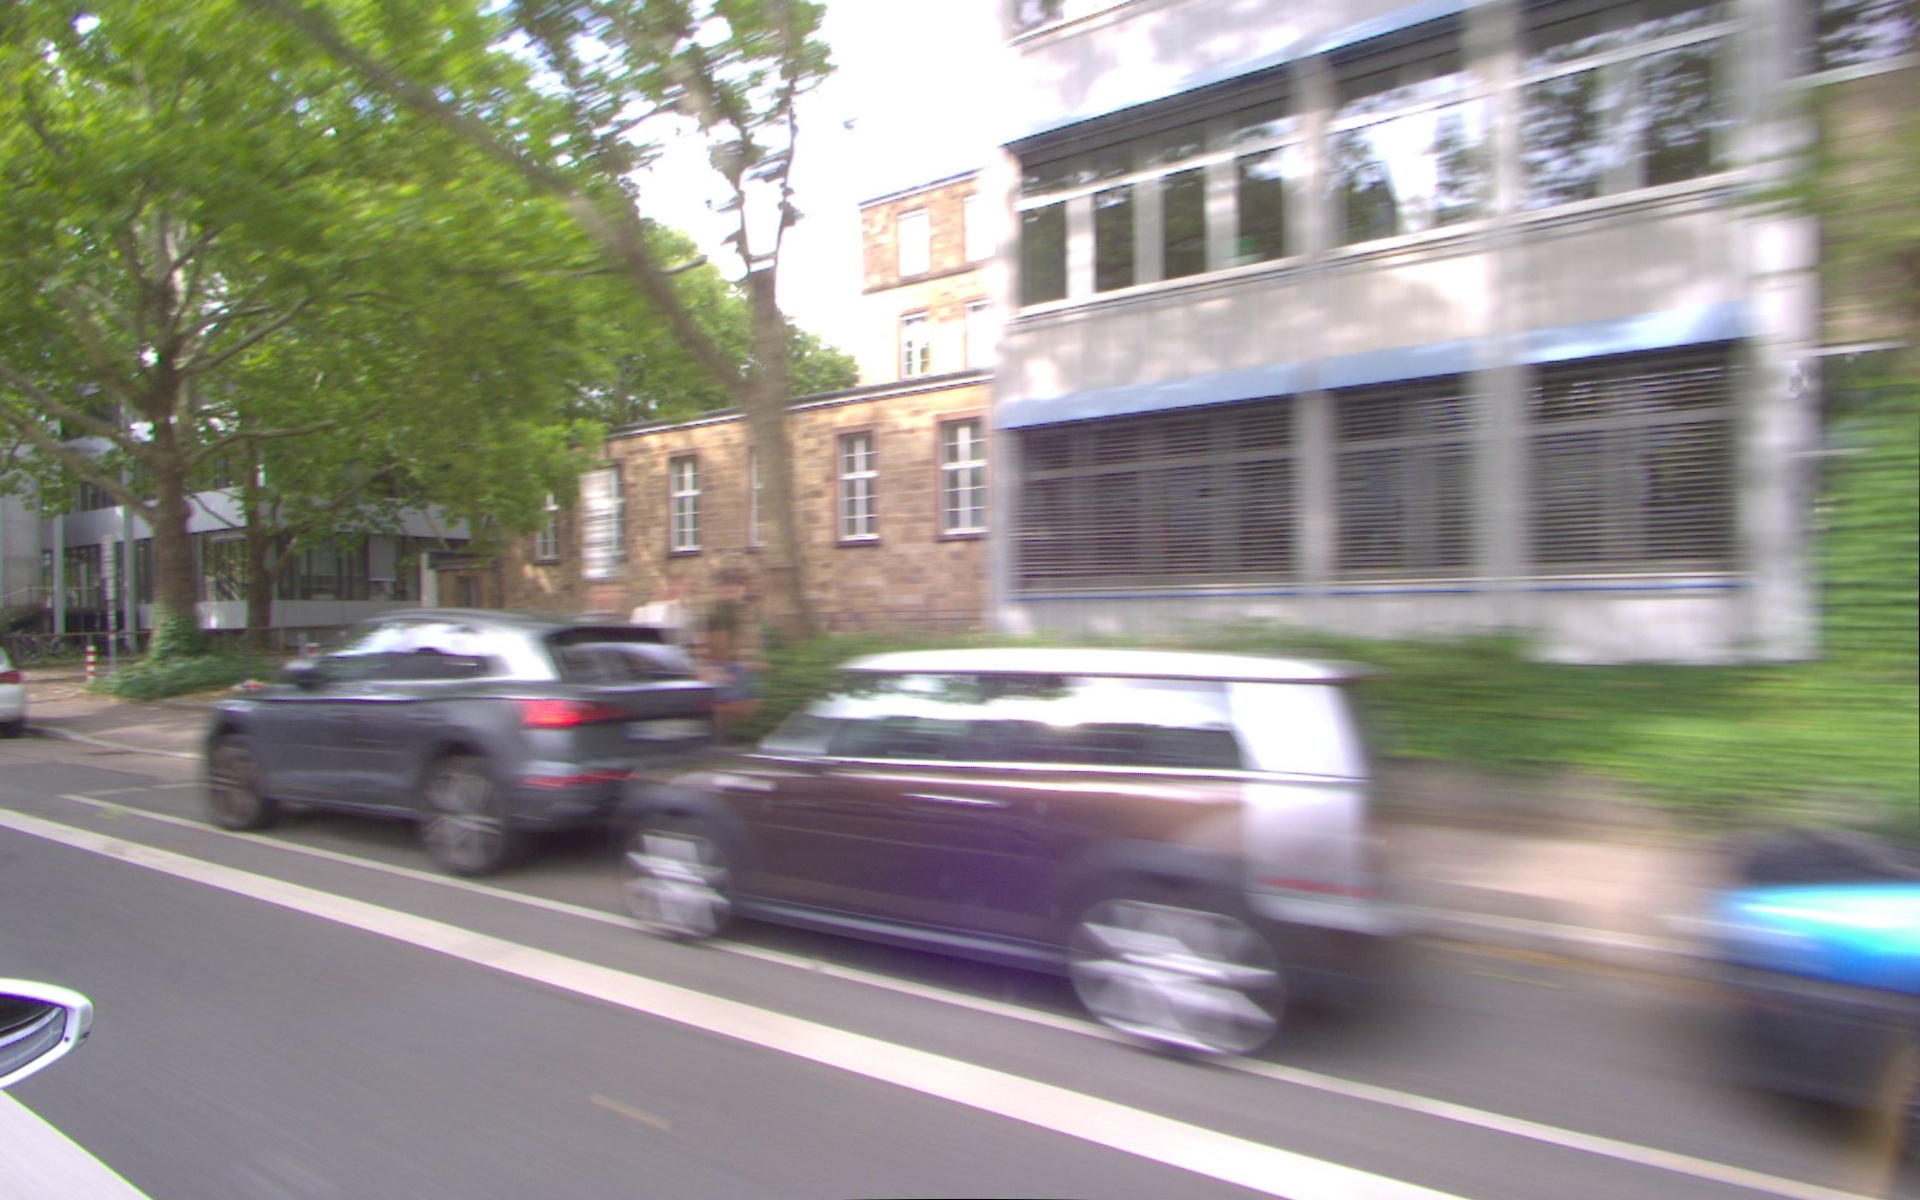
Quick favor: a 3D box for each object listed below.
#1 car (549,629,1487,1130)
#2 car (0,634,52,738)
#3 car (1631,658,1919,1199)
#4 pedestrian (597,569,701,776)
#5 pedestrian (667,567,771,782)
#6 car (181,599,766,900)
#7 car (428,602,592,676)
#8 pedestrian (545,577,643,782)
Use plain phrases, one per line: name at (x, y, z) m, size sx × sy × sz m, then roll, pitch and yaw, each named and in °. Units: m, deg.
car at (0.092, 0.895, 4.818) m, size 4.254 × 1.489 × 1.627 m, roll -1°, pitch -1°, yaw 31°
car at (-15.140, 1.195, 14.608) m, size 4.397 × 1.411 × 1.673 m, roll -1°, pitch -3°, yaw 32°
car at (4.095, 0.892, 2.526) m, size 3.944 × 1.403 × 1.619 m, roll -1°, pitch -3°, yaw 33°
pedestrian at (-2.922, 0.658, 9.420) m, size 0.682 × 1.862 × 0.586 m, roll 1°, pitch 0°, yaw 33°
pedestrian at (-2.348, 0.699, 9.769) m, size 0.682 × 2.001 × 0.641 m, roll 1°, pitch 0°, yaw 33°
car at (-3.698, 0.887, 7.391) m, size 4.436 × 1.661 × 1.667 m, roll -1°, pitch -3°, yaw 30°
car at (-10.197, 0.849, 22.615) m, size 3.859 × 1.477 × 1.469 m, roll 1°, pitch -1°, yaw 32°
pedestrian at (-3.226, 0.678, 8.836) m, size 0.501 × 1.724 × 0.586 m, roll 1°, pitch 0°, yaw 33°
